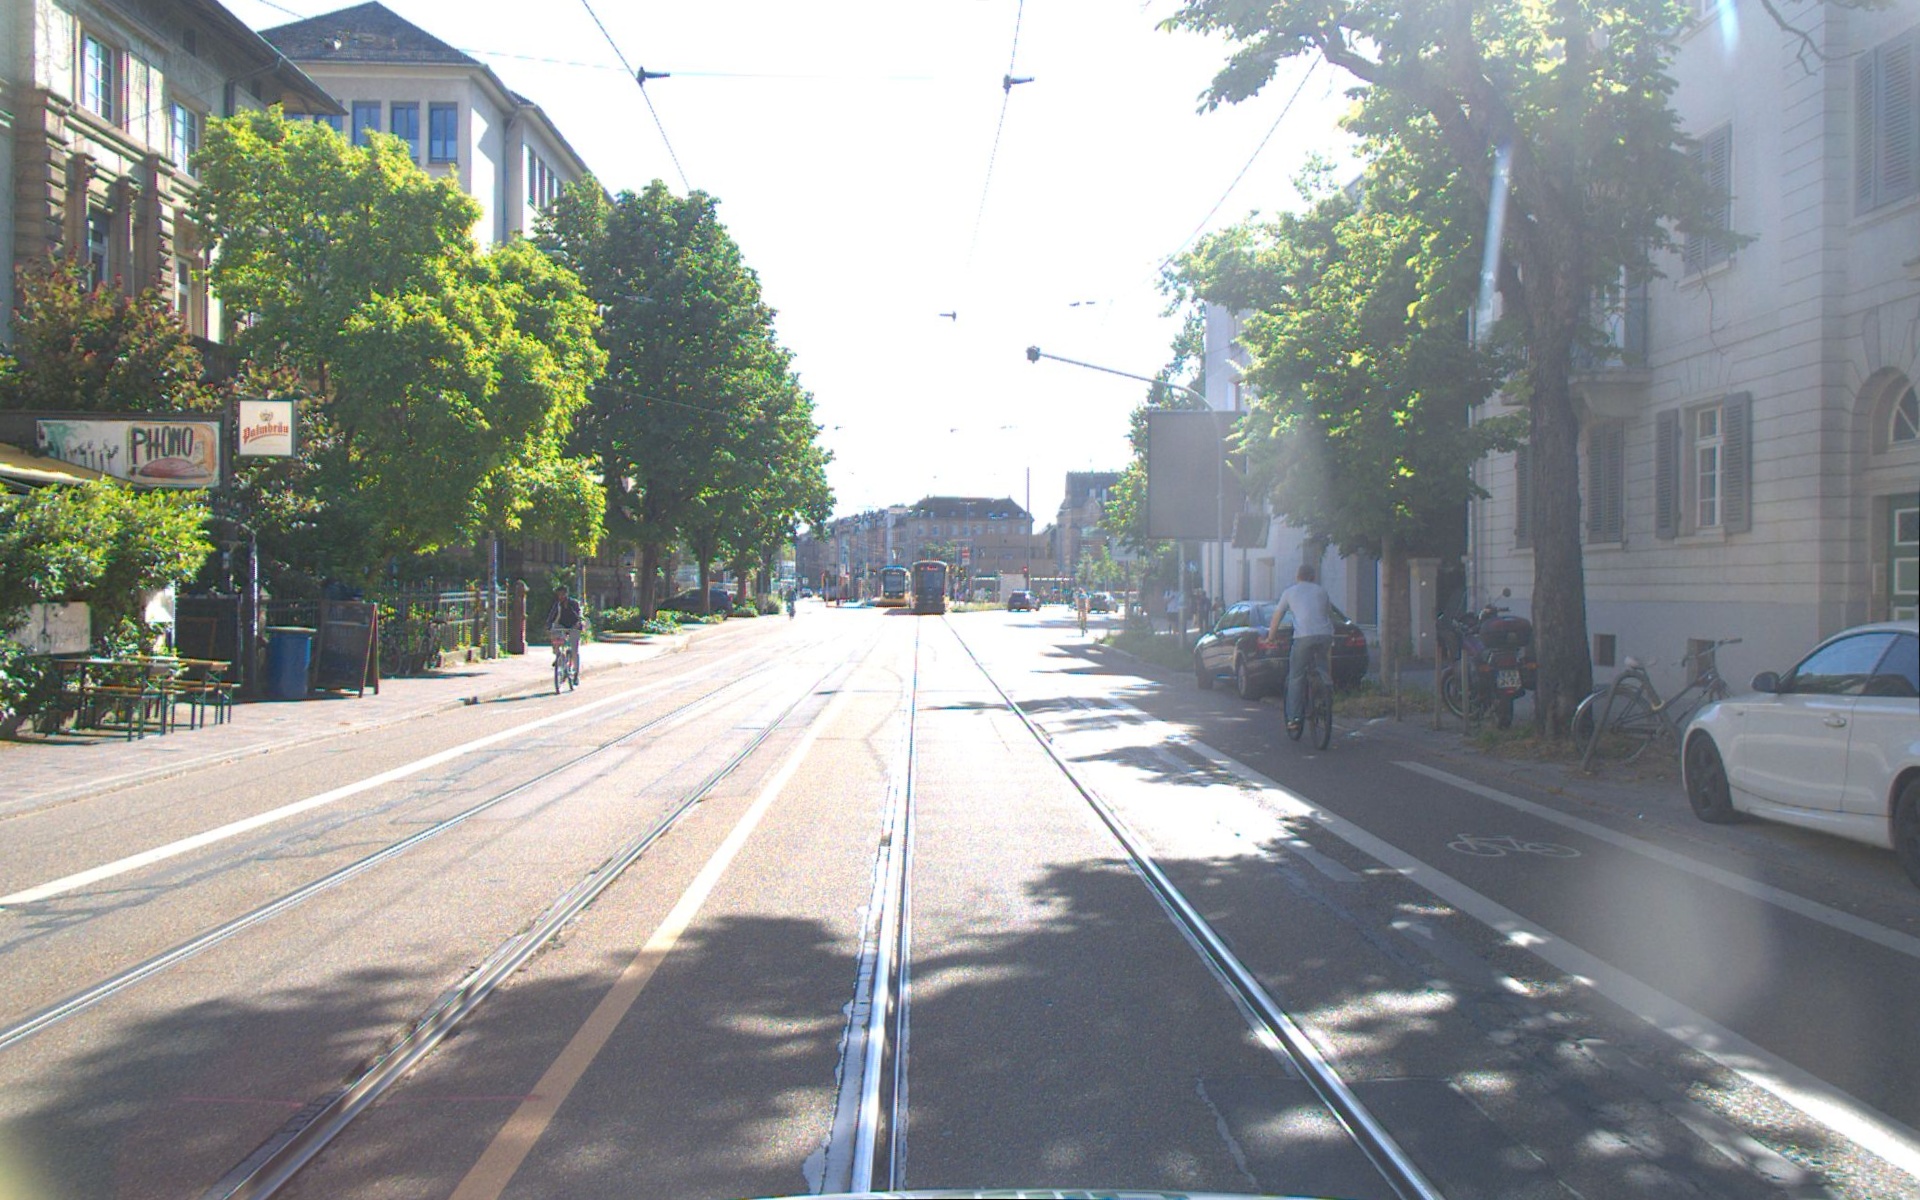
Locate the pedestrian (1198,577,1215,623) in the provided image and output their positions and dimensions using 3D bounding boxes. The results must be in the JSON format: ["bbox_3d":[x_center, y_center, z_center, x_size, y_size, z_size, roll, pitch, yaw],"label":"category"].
[{"bbox_3d":[8.894,-0.001,59.615,0.507,1.628,0.765,0,0,2],"label":"pedestrian"}]

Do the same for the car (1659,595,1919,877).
[{"bbox_3d":[5.868,0.715,9.700,1.688,1.406,4.356,-2,1,0],"label":"car"}]

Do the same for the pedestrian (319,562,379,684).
[{"bbox_3d":[-9.463,0.353,25.639,0.563,1.863,0.690,0,0,17],"label":"pedestrian"}]

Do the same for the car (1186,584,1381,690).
[{"bbox_3d":[5.029,0.514,26.388,1.786,1.484,4.814,-2,1,-5],"label":"car"}]

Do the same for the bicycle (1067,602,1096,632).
[{"bbox_3d":[4.794,0.654,65.132,0.690,1.124,1.718,2,1,18],"label":"bicycle"}]

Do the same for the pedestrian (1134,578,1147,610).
[{"bbox_3d":[11.209,-0.375,102.607,0.624,1.937,1.134,-2,0,0],"label":"pedestrian"}]

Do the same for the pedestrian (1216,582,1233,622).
[{"bbox_3d":[9.503,0.086,59.537,0.507,1.429,0.765,0,0,2],"label":"pedestrian"}]

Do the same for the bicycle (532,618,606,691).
[{"bbox_3d":[-6.502,0.893,27.617,0.730,1.100,1.899,-3,0,0],"label":"bicycle"}]

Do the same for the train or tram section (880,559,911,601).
[{"bbox_3d":[-5.952,-1.886,153.210,2.687,3.715,13.781,0,1,-2],"label":"train or tram section"}]

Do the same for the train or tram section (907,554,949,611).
[{"bbox_3d":[-2.317,-1.248,113.926,2.687,3.715,13.781,0,1,-2],"label":"train or tram section"}]

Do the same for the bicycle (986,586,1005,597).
[{"bbox_3d":[3.583,-0.827,169.171,1.895,1.122,0.598,0,1,-4],"label":"bicycle"}]

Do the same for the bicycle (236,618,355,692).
[{"bbox_3d":[-10.277,0.827,25.672,0.623,1.064,2.023,0,0,15],"label":"bicycle"}]

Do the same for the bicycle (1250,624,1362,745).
[{"bbox_3d":[3.556,0.837,17.170,0.723,1.113,2.111,1,0,1],"label":"bicycle"}]

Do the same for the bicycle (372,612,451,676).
[{"bbox_3d":[-9.914,0.778,29.954,0.577,1.064,1.906,1,0,7],"label":"bicycle"}]

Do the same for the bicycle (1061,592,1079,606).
[{"bbox_3d":[8.650,-0.098,129.717,0.691,1.073,2.313,3,2,23],"label":"bicycle"}]

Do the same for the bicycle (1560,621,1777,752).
[{"bbox_3d":[6.187,0.746,14.500,1.586,1.061,0.685,-2,0,-1],"label":"bicycle"}]

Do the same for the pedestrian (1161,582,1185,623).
[{"bbox_3d":[8.718,0.107,67.742,0.839,1.669,0.993,0,-1,1],"label":"pedestrian"}]

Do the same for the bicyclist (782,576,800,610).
[{"bbox_3d":[-8.695,-0.366,85.070,0.672,1.673,1.238,-2,0,3],"label":"bicyclist"}]

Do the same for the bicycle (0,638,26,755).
[{"bbox_3d":[-9.291,0.911,14.997,0.625,1.077,1.743,2,0,0],"label":"bicycle"}]

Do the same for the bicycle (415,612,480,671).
[{"bbox_3d":[-9.872,0.782,31.926,0.577,1.064,1.905,2,0,2],"label":"bicycle"}]

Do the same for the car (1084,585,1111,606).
[{"bbox_3d":[10.666,-0.376,127.935,1.751,1.537,3.716,1,1,10],"label":"car"}]

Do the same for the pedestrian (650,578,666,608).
[{"bbox_3d":[-16.794,-0.398,91.874,0.686,1.663,0.759,2,0,-2],"label":"pedestrian"}]

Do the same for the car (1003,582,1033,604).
[{"bbox_3d":[4.464,-0.550,126.802,1.751,1.632,3.716,1,1,11],"label":"car"}]

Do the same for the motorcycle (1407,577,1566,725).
[{"bbox_3d":[5.872,0.526,18.640,0.895,1.514,2.679,-2,0,0],"label":"motorcycle"}]

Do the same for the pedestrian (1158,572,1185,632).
[{"bbox_3d":[6.754,0.056,52.923,0.670,1.882,0.955,-1,0,-3],"label":"pedestrian"}]

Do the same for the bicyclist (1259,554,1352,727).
[{"bbox_3d":[3.564,0.404,17.124,0.723,1.715,0.972,1,0,0],"label":"bicyclist"}]

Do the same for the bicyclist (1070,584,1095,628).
[{"bbox_3d":[4.808,0.227,65.124,0.690,1.704,1.102,2,1,18],"label":"bicyclist"}]

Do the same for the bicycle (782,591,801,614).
[{"bbox_3d":[-8.677,0.128,85.091,0.672,1.144,1.932,-2,0,3],"label":"bicycle"}]

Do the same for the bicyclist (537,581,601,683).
[{"bbox_3d":[-6.519,0.525,27.618,0.730,1.627,1.118,-3,0,0],"label":"bicyclist"}]

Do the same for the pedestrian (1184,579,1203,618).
[{"bbox_3d":[10.897,-0.077,77.128,0.633,1.793,0.957,-4,0,13],"label":"pedestrian"}]

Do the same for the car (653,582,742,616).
[{"bbox_3d":[-12.873,-0.033,81.125,3.943,1.577,1.860,1,0,-29],"label":"car"}]

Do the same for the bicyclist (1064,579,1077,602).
[{"bbox_3d":[8.664,-0.729,129.687,0.691,1.730,0.987,3,1,23],"label":"bicyclist"}]
